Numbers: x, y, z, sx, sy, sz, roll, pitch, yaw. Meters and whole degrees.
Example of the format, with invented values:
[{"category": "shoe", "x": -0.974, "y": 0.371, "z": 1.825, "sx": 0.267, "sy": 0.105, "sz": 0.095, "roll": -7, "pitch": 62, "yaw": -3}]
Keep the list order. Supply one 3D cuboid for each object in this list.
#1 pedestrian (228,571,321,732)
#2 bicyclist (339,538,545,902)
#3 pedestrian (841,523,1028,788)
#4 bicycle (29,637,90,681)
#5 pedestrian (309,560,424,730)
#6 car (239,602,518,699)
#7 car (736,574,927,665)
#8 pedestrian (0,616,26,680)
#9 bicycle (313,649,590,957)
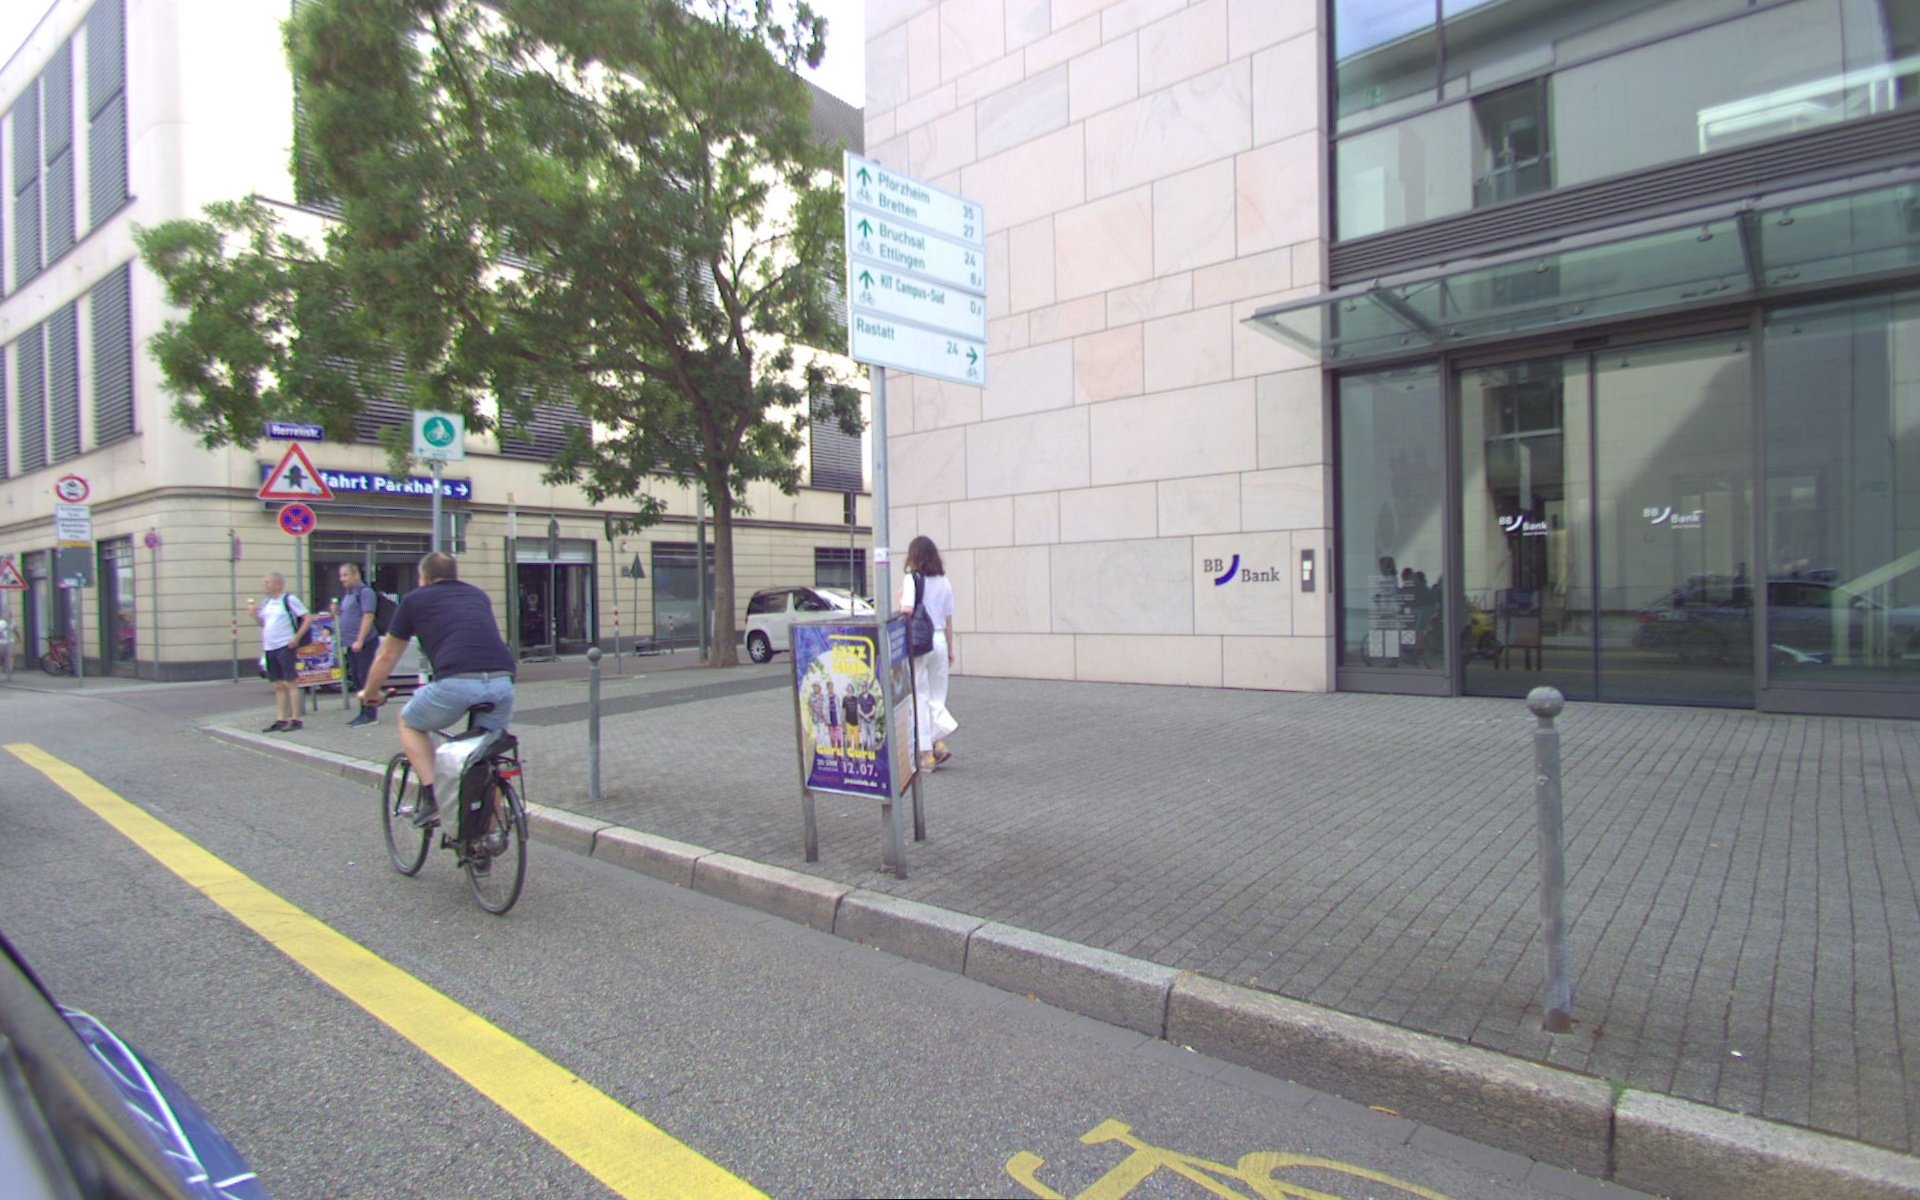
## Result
[{"category": "pedestrian", "x": -7.832, "y": 0.573, "z": 11.573, "sx": 0.651, "sy": 1.778, "sz": 0.637, "roll": -1, "pitch": 0, "yaw": 29}, {"category": "bicyclist", "x": -2.672, "y": 0.562, "z": 5.206, "sx": 0.940, "sy": 1.666, "sz": 0.636, "roll": -1, "pitch": -3, "yaw": 44}, {"category": "pedestrian", "x": -0.173, "y": 0.347, "z": 7.238, "sx": 0.909, "sy": 1.721, "sz": 0.868, "roll": -1, "pitch": 4, "yaw": 40}, {"category": "bicycle", "x": -23.416, "y": 1.507, "z": 26.303, "sx": 2.539, "sy": 1.052, "sz": 0.684, "roll": -1, "pitch": 0, "yaw": 37}, {"category": "pedestrian", "x": -6.759, "y": 0.491, "z": 11.540, "sx": 0.753, "sy": 1.827, "sz": 0.738, "roll": -2, "pitch": 3, "yaw": 29}, {"category": "car", "x": -11.004, "y": 0.870, "z": 19.450, "sx": 1.811, "sy": 1.593, "sz": 4.316, "roll": -1, "pitch": 0, "yaw": 34}, {"category": "car", "x": -2.900, "y": 0.468, "z": 22.479, "sx": 3.957, "sy": 1.706, "sz": 1.876, "roll": -5, "pitch": -3, "yaw": 37}, {"category": "pedestrian", "x": -27.968, "y": 1.396, "z": 29.405, "sx": 1.058, "sy": 1.778, "sz": 0.883, "roll": -1, "pitch": 3, "yaw": 34}, {"category": "bicycle", "x": -2.675, "y": 0.901, "z": 5.203, "sx": 1.953, "sy": 1.250, "sz": 0.639, "roll": -1, "pitch": -3, "yaw": 44}]
